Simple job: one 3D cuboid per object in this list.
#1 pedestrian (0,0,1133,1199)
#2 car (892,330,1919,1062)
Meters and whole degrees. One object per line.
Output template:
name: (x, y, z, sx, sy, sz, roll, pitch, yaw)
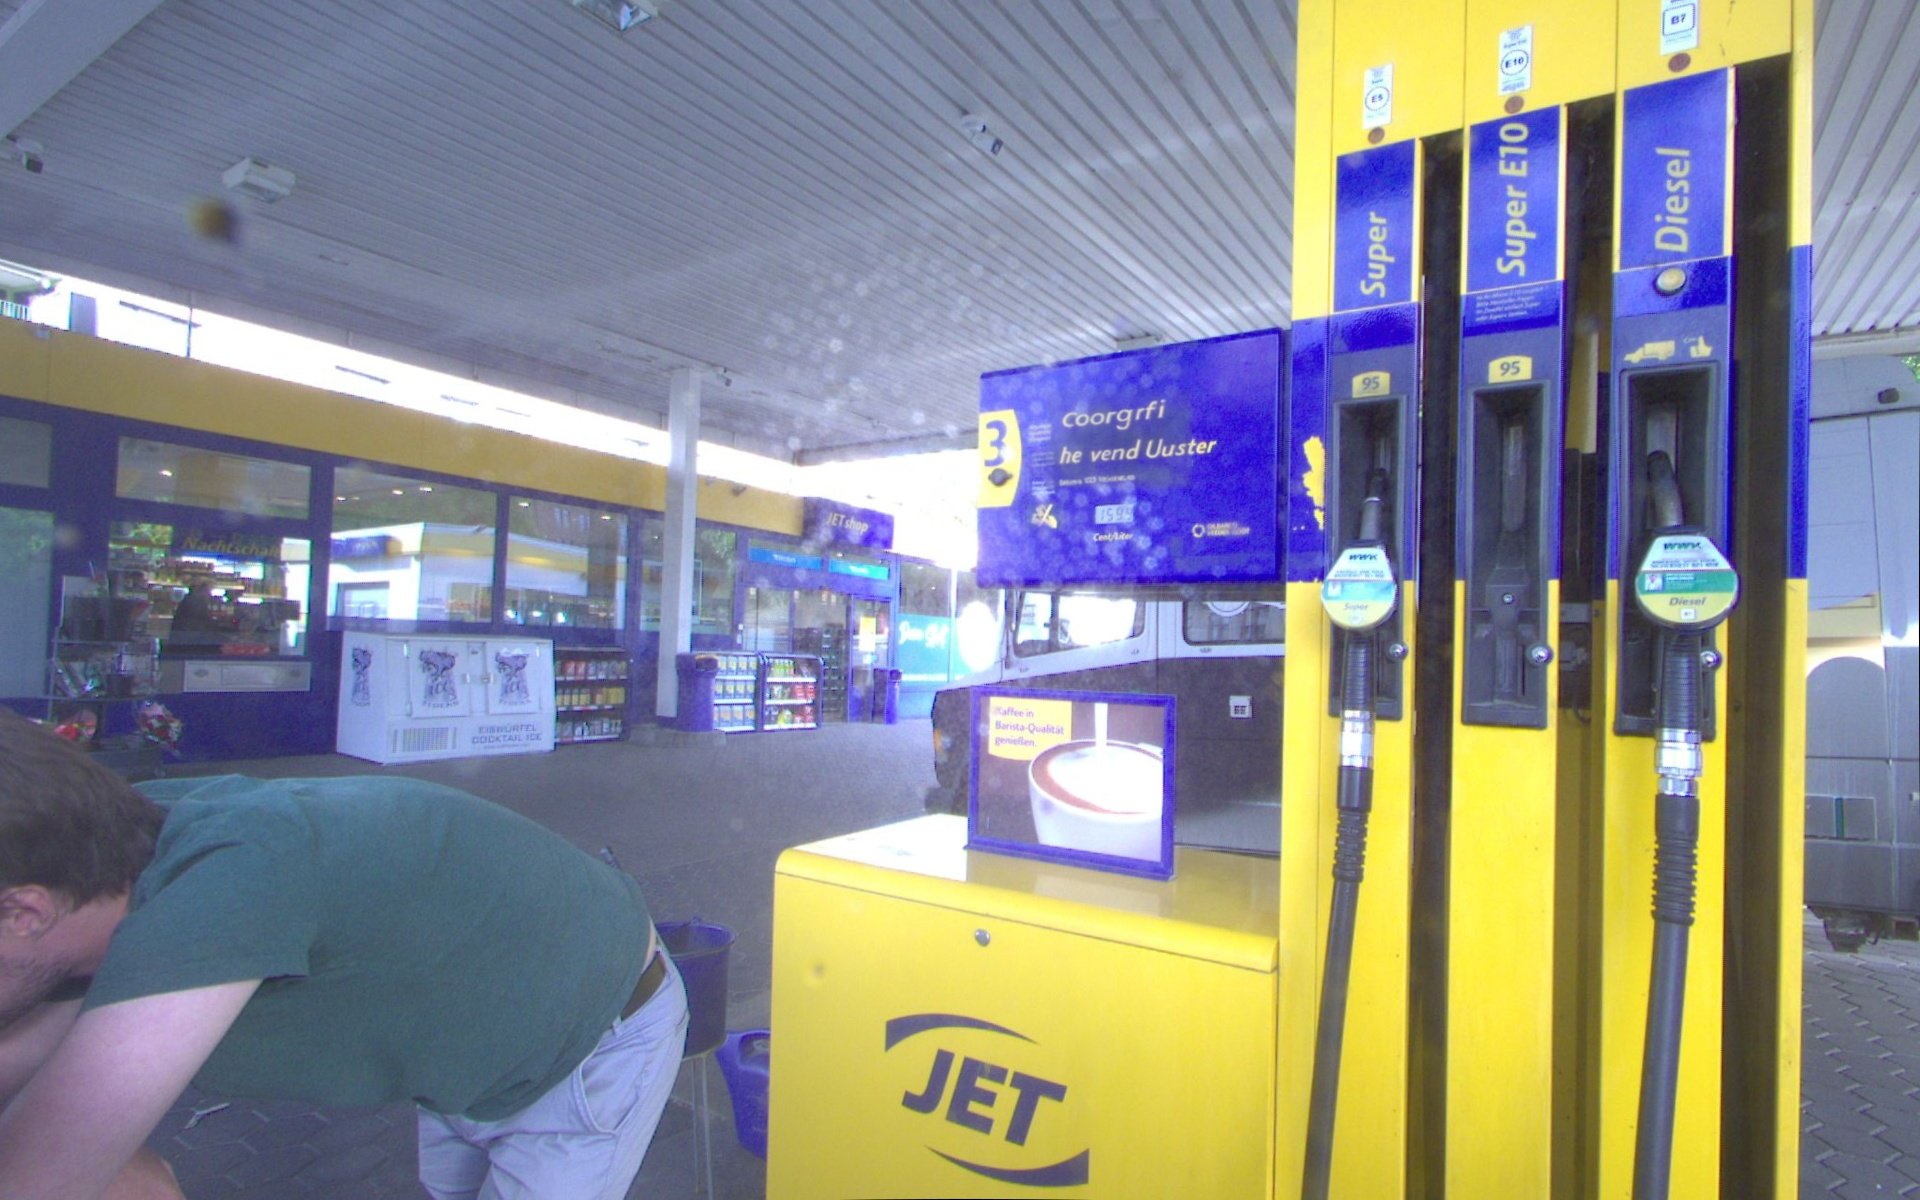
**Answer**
pedestrian: (-0.522, 0.581, 1.074, 0.981, 1.750, 1.175, -2, -2, 36)
car: (2.351, 0.440, 5.991, 5.271, 2.759, 2.193, -1, -3, 34)
